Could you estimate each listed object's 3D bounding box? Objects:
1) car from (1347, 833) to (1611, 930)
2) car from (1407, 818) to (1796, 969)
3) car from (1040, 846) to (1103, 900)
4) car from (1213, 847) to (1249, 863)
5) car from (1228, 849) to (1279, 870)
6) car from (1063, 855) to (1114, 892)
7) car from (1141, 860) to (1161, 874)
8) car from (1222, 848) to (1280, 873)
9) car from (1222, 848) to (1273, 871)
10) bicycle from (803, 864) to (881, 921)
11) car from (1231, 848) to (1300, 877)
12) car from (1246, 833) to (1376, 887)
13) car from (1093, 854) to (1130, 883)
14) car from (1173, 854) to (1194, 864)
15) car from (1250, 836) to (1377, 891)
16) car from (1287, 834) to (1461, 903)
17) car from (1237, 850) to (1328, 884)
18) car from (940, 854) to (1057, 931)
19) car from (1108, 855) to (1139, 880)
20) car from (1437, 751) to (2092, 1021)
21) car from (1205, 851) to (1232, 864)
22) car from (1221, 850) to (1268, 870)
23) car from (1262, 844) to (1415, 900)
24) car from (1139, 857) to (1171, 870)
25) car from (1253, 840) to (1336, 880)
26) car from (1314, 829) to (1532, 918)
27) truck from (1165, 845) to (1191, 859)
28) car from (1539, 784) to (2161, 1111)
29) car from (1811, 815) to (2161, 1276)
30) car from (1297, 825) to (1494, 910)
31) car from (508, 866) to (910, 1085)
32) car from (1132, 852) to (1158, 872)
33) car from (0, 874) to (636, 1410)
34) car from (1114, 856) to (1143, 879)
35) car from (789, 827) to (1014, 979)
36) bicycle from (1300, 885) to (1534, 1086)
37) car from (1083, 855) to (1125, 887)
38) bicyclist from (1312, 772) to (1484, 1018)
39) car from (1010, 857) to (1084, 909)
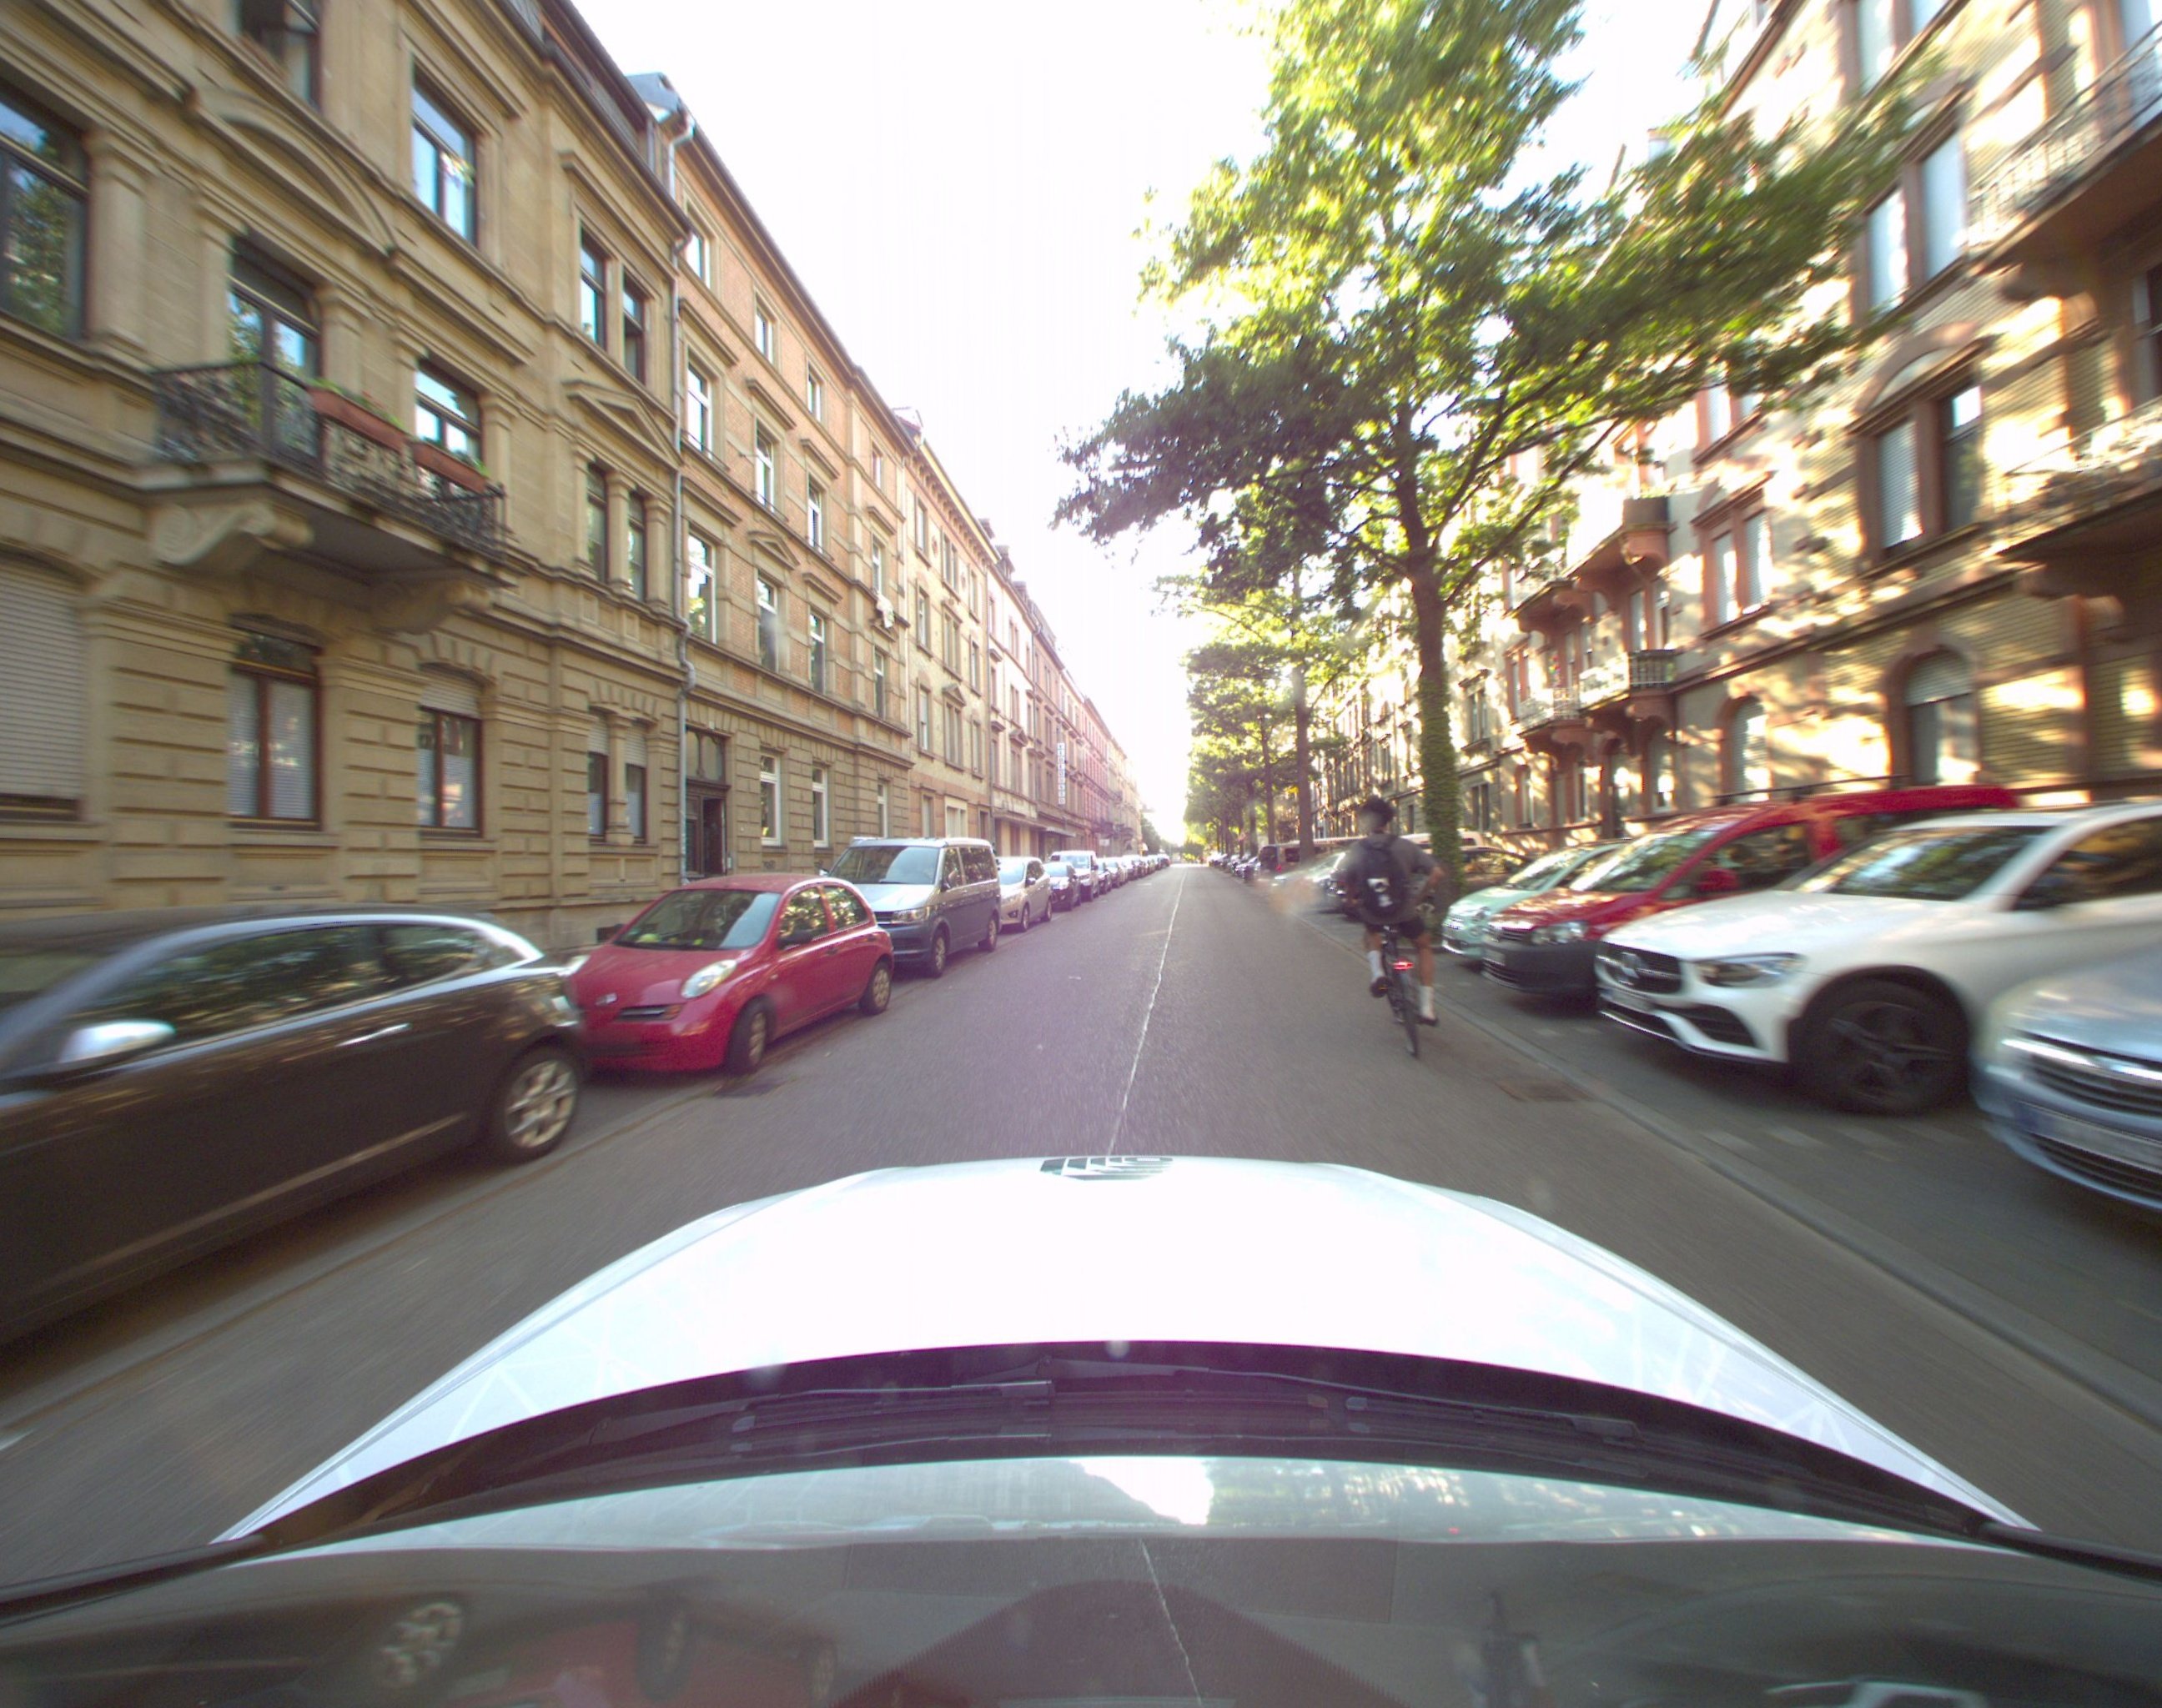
[{"bbox_3d":[7.204,0.506,15.102,3.989,1.467,1.737,-4,-1,7],"label":"car"},{"bbox_3d":[6.339,0.449,10.268,3.645,1.455,1.850,-5,0,1],"label":"car"},{"bbox_3d":[-0.276,0.661,30.489,1.749,1.842,4.537,-2,0,6],"label":"car"},{"bbox_3d":[16.908,0.140,91.728,3.830,1.574,1.721,-4,-1,6],"label":"car"},{"bbox_3d":[14.682,0.478,69.394,3.839,1.574,1.717,-4,-1,-1],"label":"car"},{"bbox_3d":[0.388,0.815,35.507,1.749,1.473,4.066,-2,0,6],"label":"car"},{"bbox_3d":[7.714,1.444,89.761,1.983,1.486,4.007,-2,-2,7],"label":"car"},{"bbox_3d":[12.435,0.486,59.836,3.839,1.574,1.717,-4,-1,-1],"label":"car"},{"bbox_3d":[13.687,0.460,67.088,3.839,1.574,1.717,-4,-1,-1],"label":"car"},{"bbox_3d":[-5.757,0.883,19.860,0.736,1.255,2.832,-1,0,7],"label":"bicycle"},{"bbox_3d":[11.282,0.506,49.923,3.833,1.479,1.720,-4,-1,4],"label":"car"},{"bbox_3d":[9.740,0.243,34.776,5.029,1.925,1.839,-4,-1,7],"label":"car"},{"bbox_3d":[1.780,0.790,46.413,1.749,1.473,4.066,-2,0,6],"label":"car"},{"bbox_3d":[21.140,1.026,168.011,3.957,1.859,1.758,-1,0,15],"label":"car"},{"bbox_3d":[8.835,0.352,31.114,4.225,1.795,1.827,-4,-1,-12],"label":"car"},{"bbox_3d":[8.201,0.406,23.100,4.207,1.611,1.835,-4,-1,0],"label":"car"},{"bbox_3d":[9.276,0.609,37.718,3.833,1.294,1.720,-4,-1,4],"label":"car"},{"bbox_3d":[-1.803,0.805,19.171,1.744,1.608,4.393,0,0,8],"label":"car"},{"bbox_3d":[2.784,0.825,52.797,1.749,1.473,4.066,-2,0,6],"label":"car"},{"bbox_3d":[6.034,0.279,7.709,4.423,1.924,1.853,-4,0,5],"label":"car"},{"bbox_3d":[20.536,0.534,121.880,3.830,1.574,1.721,-4,-1,6],"label":"car"},{"bbox_3d":[14.840,0.514,74.065,3.839,1.574,1.717,-4,-1,-1],"label":"car"},{"bbox_3d":[7.972,0.547,25.526,4.204,1.403,1.836,-4,-1,2],"label":"car"},{"bbox_3d":[9.100,1.145,100.031,1.974,1.486,4.025,-4,-3,40],"label":"car"},{"bbox_3d":[11.048,0.290,42.361,3.833,1.797,1.720,-4,-1,4],"label":"car"},{"bbox_3d":[7.324,0.422,17.802,3.989,1.607,1.737,-4,-1,7],"label":"car"},{"bbox_3d":[27.337,-0.580,228.855,7.266,3.950,2.414,0,0,-29],"label":"truck"},{"bbox_3d":[5.644,0.453,5.167,4.321,1.556,1.854,-4,0,6],"label":"car"},{"bbox_3d":[5.433,0.487,2.797,3.989,1.434,1.798,-4,-1,7],"label":"car"},{"bbox_3d":[7.761,0.340,20.424,4.199,1.776,1.838,-4,-1,6],"label":"car"},{"bbox_3d":[-3.055,0.869,7.613,1.583,1.475,3.709,0,0,10],"label":"car"},{"bbox_3d":[5.488,0.720,69.719,1.983,1.486,4.007,-2,-2,7],"label":"car"},{"bbox_3d":[-3.930,0.873,3.208,1.749,1.501,4.068,0,0,7],"label":"car"},{"bbox_3d":[3.365,0.906,57.341,1.749,1.473,4.066,-2,0,6],"label":"car"},{"bbox_3d":[-2.549,0.626,13.124,1.822,1.943,5.271,0,0,8],"label":"car"},{"bbox_3d":[2.497,0.889,6.578,0.990,1.158,2.929,-2,-1,7],"label":"bicycle"},{"bbox_3d":[1.228,0.818,41.565,1.749,1.473,4.066,-2,0,6],"label":"car"},{"bbox_3d":[2.499,0.315,6.601,0.990,1.790,1.210,-2,-1,7],"label":"bicyclist"},{"bbox_3d":[-0.977,0.837,25.529,1.749,1.467,4.007,0,0,6],"label":"car"}]
